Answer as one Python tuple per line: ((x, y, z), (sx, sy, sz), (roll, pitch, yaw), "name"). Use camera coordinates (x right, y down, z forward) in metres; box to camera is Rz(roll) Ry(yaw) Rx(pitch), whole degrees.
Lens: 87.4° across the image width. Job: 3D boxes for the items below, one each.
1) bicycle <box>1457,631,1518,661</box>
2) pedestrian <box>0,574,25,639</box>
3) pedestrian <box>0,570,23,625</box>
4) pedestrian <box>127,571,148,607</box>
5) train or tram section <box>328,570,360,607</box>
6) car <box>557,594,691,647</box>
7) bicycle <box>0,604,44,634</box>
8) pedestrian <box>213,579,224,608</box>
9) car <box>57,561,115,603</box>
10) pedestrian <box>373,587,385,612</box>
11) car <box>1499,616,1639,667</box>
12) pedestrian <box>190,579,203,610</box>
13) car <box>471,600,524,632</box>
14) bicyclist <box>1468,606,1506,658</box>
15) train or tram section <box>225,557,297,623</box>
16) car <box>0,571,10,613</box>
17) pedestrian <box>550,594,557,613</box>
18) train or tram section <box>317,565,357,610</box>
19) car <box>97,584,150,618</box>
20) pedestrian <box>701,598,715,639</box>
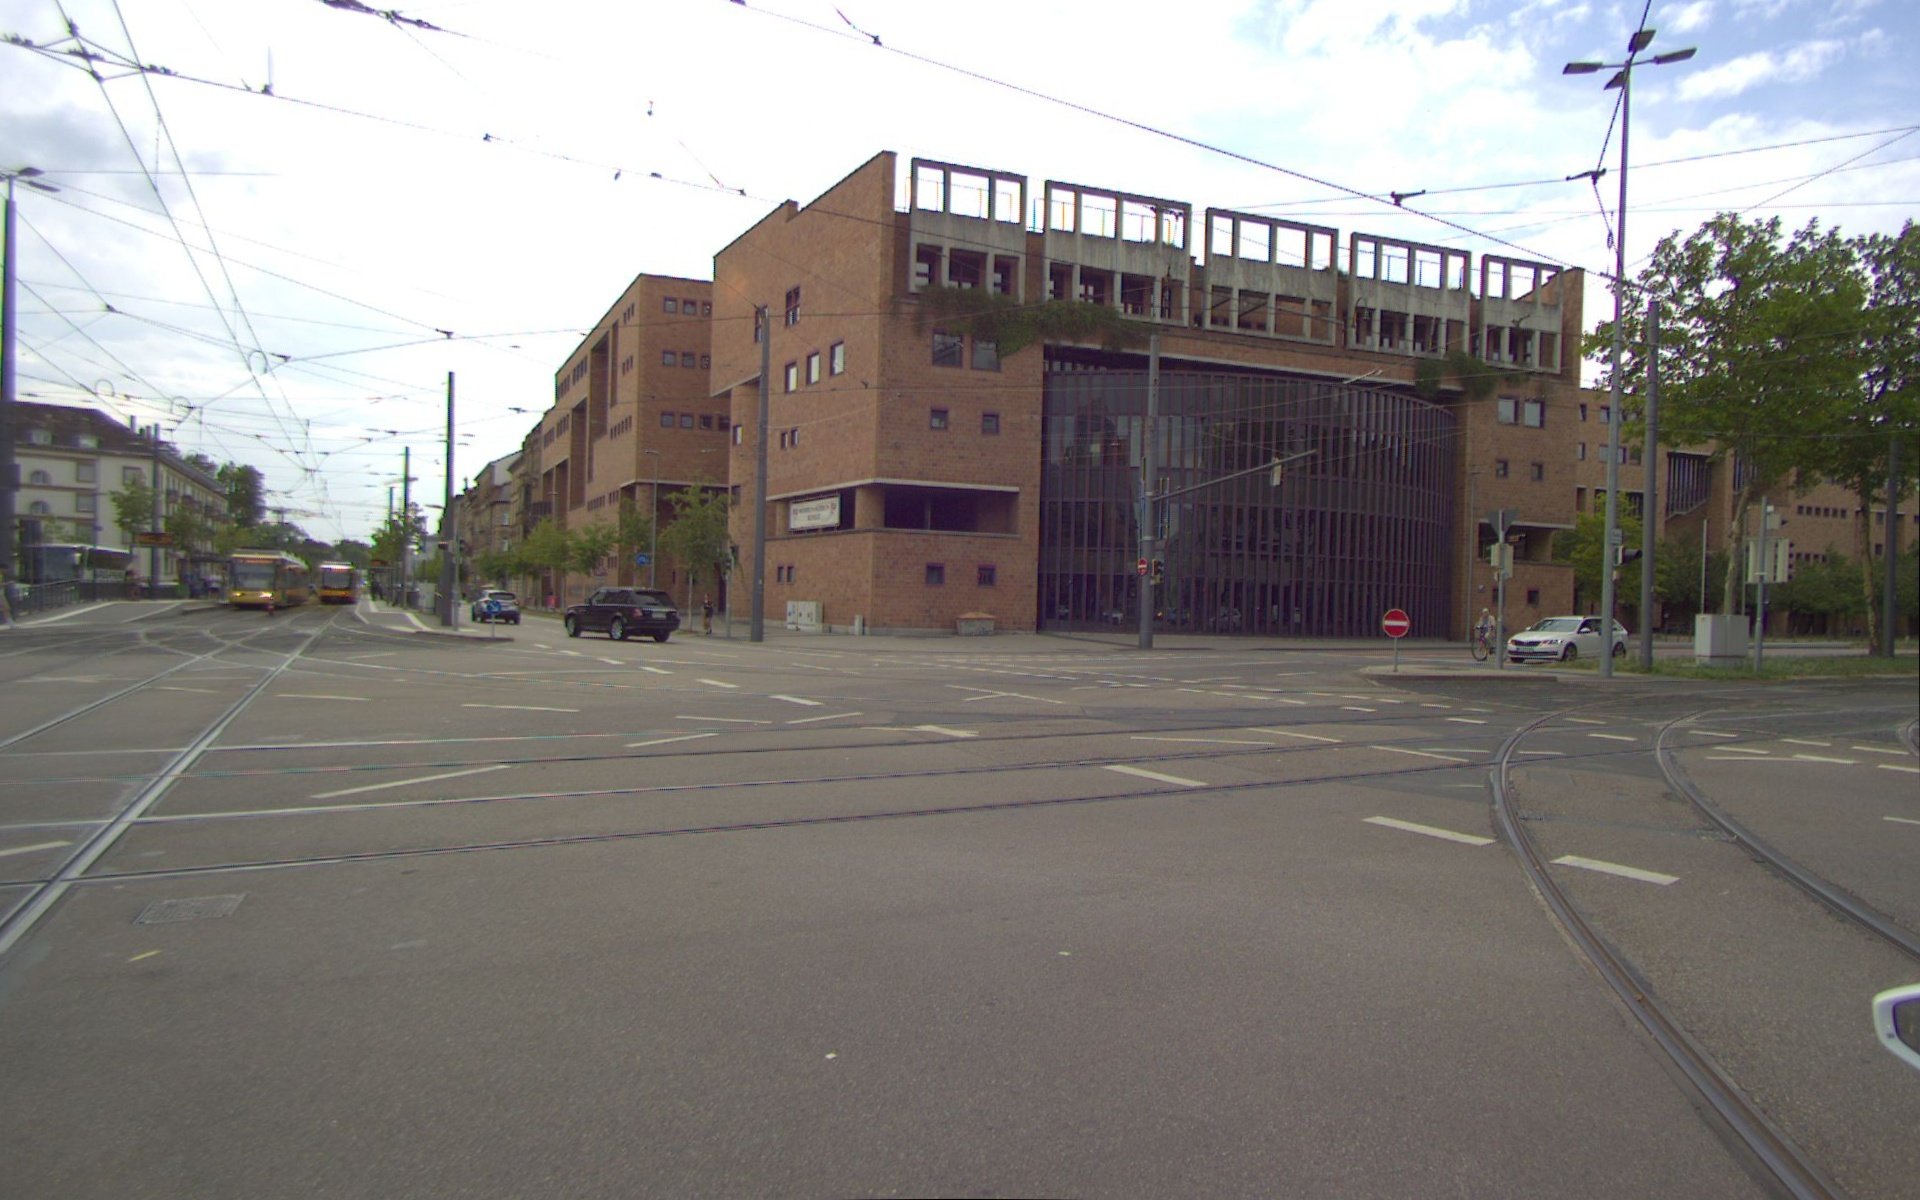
((17.043, 1.472, 32.443), (2.098, 0.929, 0.726), (1, 0, -30), "bicycle")
((-26.021, 0.176, 27.298), (0.742, 1.755, 0.574), (2, 0, -31), "pedestrian")
((-30.829, -0.092, 32.557), (0.574, 1.755, 0.624), (2, 0, -40), "pedestrian")
((-36.823, -0.490, 44.979), (0.648, 1.557, 0.487), (2, 0, -35), "pedestrian")
((-60.463, -1.078, 98.752), (2.402, 3.479, 10.437), (1, 0, -30), "train or tram section")
((-11.413, 0.673, 34.006), (4.454, 1.629, 1.929), (1, -1, 33), "car")
((-29.295, 0.581, 30.749), (1.771, 0.900, 0.476), (2, -1, -31), "bicycle")
((-44.204, -0.386, 59.896), (0.487, 1.755, 0.539), (1, 0, -32), "pedestrian")
((-51.045, -1.026, 58.728), (1.683, 2.350, 5.040), (1, 0, -31), "car")
((-46.647, -0.036, 80.662), (0.771, 2.040, 1.220), (1, 0, -29), "pedestrian")
((18.952, 1.271, 31.209), (4.604, 1.440, 1.775), (1, 0, -31), "car")
((-43.859, -0.321, 57.714), (0.539, 1.755, 0.487), (2, 0, -39), "pedestrian")
((-22.625, 0.757, 49.094), (1.912, 1.451, 4.267), (2, -1, -31), "car")
((17.020, 1.030, 32.429), (0.891, 1.631, 0.719), (1, 0, -30), "bicyclist")
((-40.028, -0.512, 57.798), (2.547, 3.496, 9.530), (1, 0, -30), "train or tram section")
((-52.443, -0.463, 53.475), (1.683, 2.260, 4.794), (2, -1, -31), "car")
((-35.670, 0.305, 88.061), (0.428, 1.732, 0.527), (2, 0, -33), "pedestrian")
((-51.489, -1.010, 83.159), (2.423, 3.496, 9.530), (1, 0, -30), "train or tram section")
((-56.341, 0.058, 67.756), (1.977, 2.196, 4.535), (1, 0, -30), "car")
((-10.781, 0.807, 42.967), (0.454, 1.732, 0.479), (1, 0, -26), "pedestrian")
